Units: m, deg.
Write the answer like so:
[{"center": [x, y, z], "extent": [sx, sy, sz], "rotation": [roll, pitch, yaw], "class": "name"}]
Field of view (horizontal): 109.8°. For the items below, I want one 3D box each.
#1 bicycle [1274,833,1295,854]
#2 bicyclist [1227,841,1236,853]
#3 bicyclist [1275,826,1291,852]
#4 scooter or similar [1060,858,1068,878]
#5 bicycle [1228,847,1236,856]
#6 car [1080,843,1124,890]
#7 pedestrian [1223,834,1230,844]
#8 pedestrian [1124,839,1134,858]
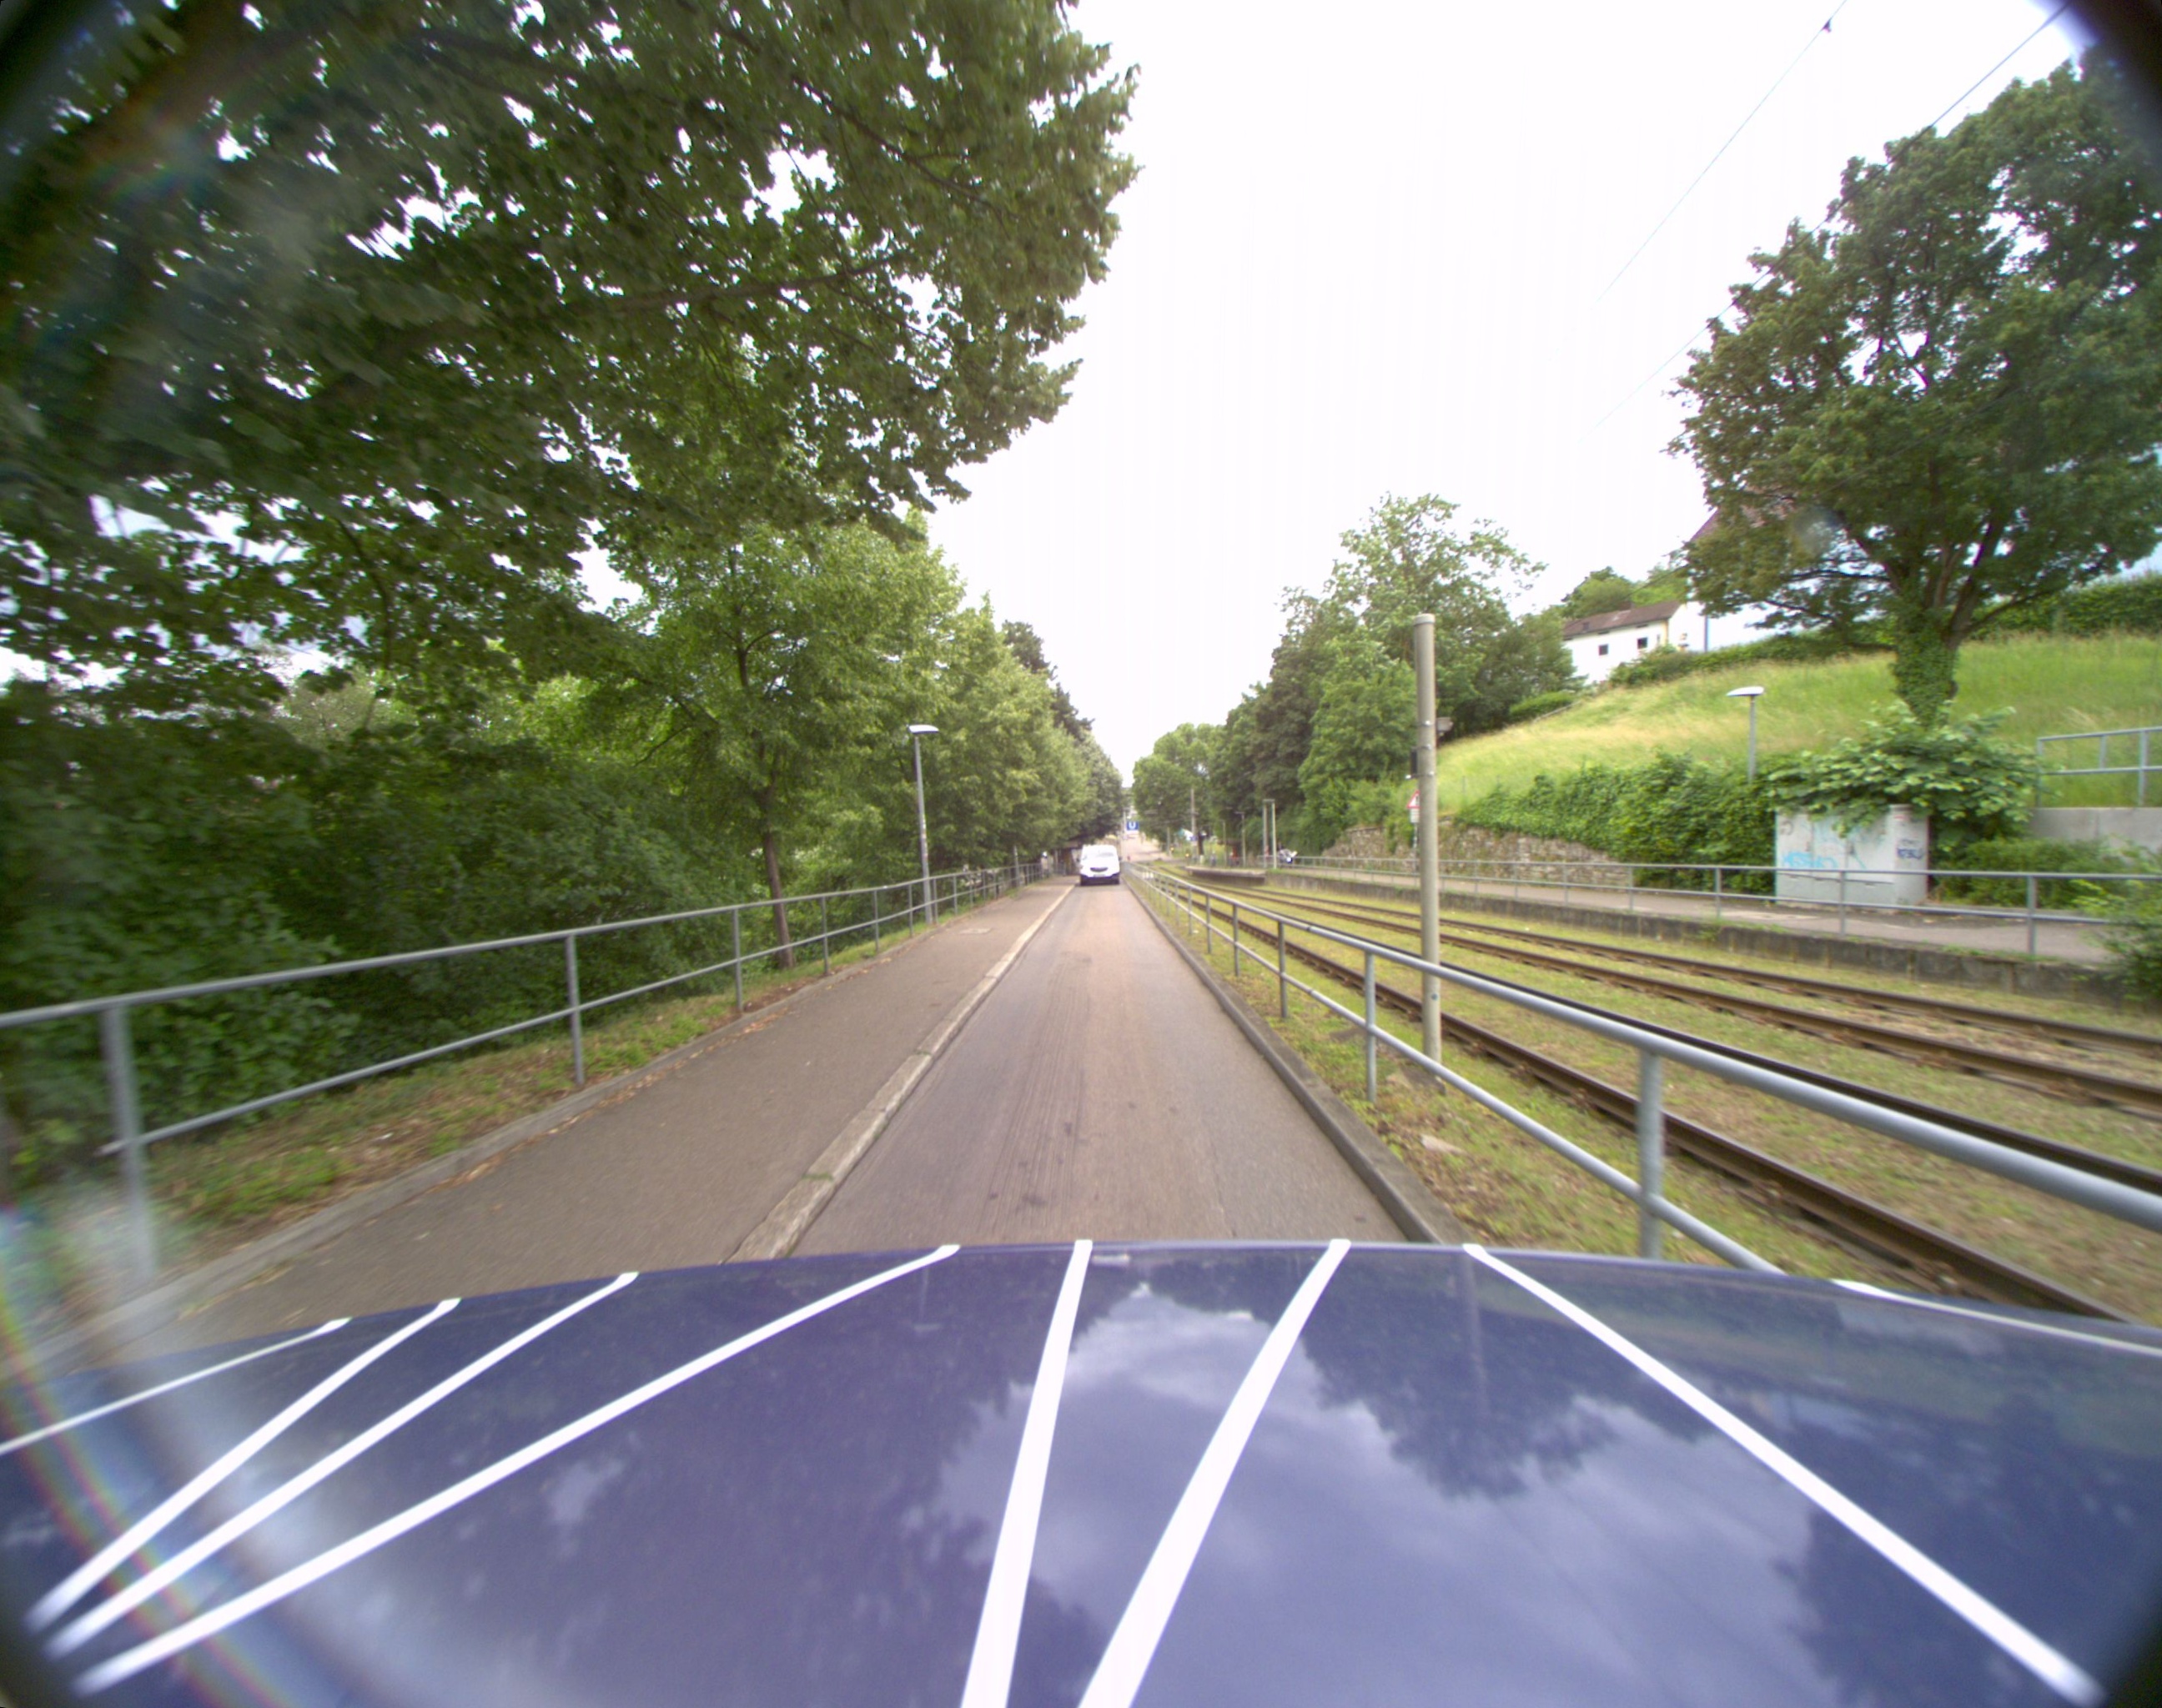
[{"center": [12.999, -0.639, 48.508], "extent": [0.752, 1.232, 2.868], "rotation": [-4, -1, 5], "class": "bicycle"}, {"center": [13.419, -0.589, 67.735], "extent": [0.691, 1.047, 0.745], "rotation": [-3, 0, 2], "class": "bicyclist"}, {"center": [13.045, -0.934, 49.123], "extent": [0.706, 1.619, 1.033], "rotation": [-4, 0, 5], "class": "bicyclist"}, {"center": [-1.224, 1.010, 55.969], "extent": [0.431, 1.376, 1.455], "rotation": [-3, 1, 2], "class": "scooter or similar"}, {"center": [13.455, -0.215, 67.589], "extent": [0.451, 0.776, 1.565], "rotation": [-3, -1, 2], "class": "bicycle"}, {"center": [0.927, 0.515, 34.997], "extent": [1.810, 1.910, 4.477], "rotation": [-3, 1, 1], "class": "car"}, {"center": [25.671, -2.685, 133.953], "extent": [1.117, 1.724, 0.694], "rotation": [-3, 1, 8], "class": "pedestrian"}, {"center": [3.889, -0.423, 61.590], "extent": [0.739, 1.493, 0.627], "rotation": [-3, 0, 3], "class": "pedestrian"}]
